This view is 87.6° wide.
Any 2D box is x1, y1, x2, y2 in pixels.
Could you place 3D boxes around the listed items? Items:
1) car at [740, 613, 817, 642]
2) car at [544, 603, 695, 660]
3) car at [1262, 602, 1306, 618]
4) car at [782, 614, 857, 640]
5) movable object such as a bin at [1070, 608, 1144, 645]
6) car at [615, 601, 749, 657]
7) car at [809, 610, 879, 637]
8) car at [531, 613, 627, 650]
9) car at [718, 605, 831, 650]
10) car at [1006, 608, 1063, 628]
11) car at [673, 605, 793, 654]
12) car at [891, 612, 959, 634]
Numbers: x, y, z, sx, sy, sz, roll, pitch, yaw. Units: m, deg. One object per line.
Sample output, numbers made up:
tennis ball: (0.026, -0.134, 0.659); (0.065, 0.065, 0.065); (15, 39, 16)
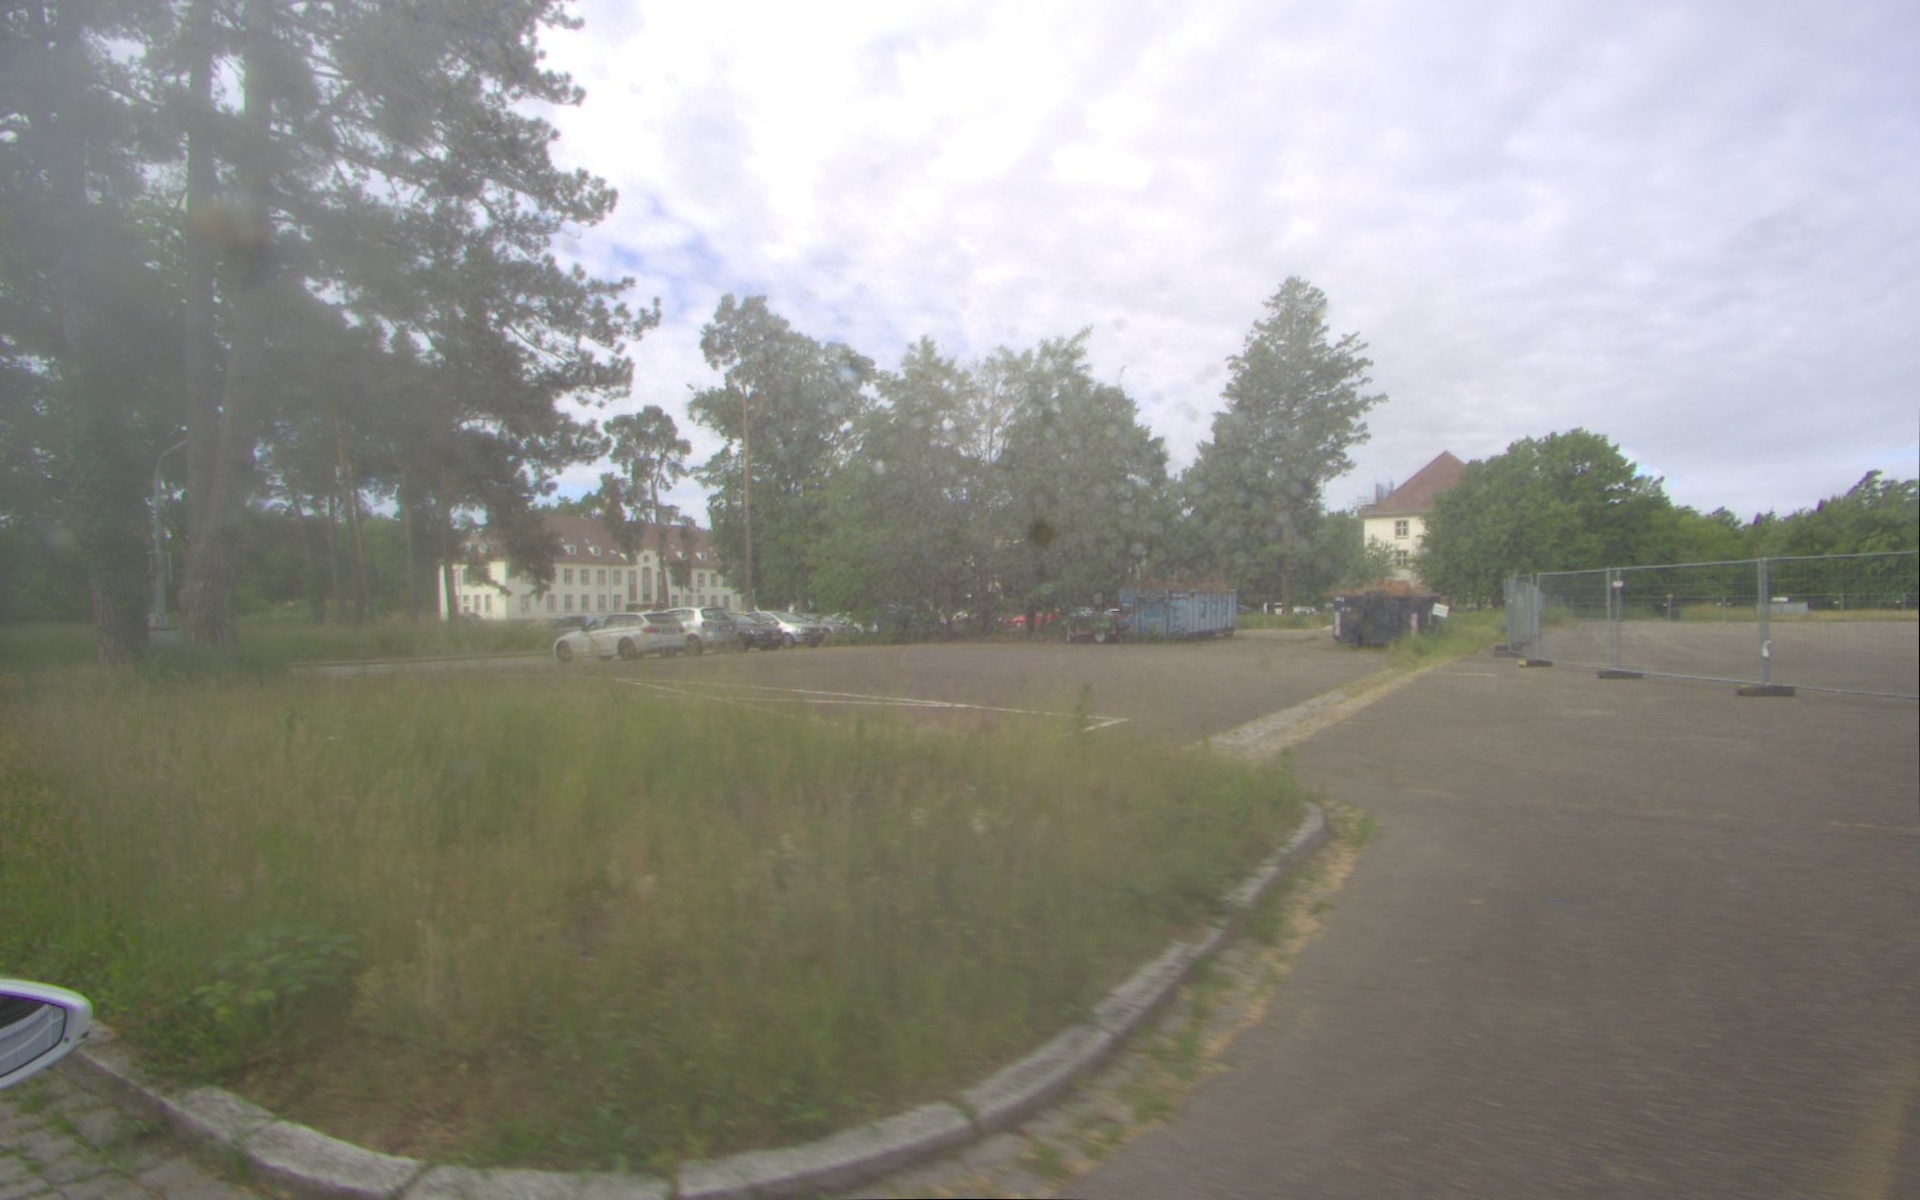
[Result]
car: (-9.769, 1.434, 53.767); (4.190, 1.492, 1.727); (-1, 0, 38)
car: (-10.496, 1.001, 30.801); (4.542, 1.505, 1.847); (-4, -3, 29)
car: (42.509, 1.295, 131.326); (5.223, 1.980, 2.080); (-1, -2, 33)
car: (-7.860, 1.483, 55.867); (4.190, 1.408, 1.727); (-1, 0, 38)
movable object such as a bin: (4.697, 0.844, 32.081); (2.176, 1.149, 0.960); (-1, -2, 23)
car: (-9.216, 0.953, 33.115); (4.181, 1.626, 1.780); (-4, -1, 29)
car: (-6.805, 1.377, 58.603); (4.190, 1.521, 1.610); (-1, 0, 38)
car: (-16.340, 1.312, 42.895); (4.184, 1.529, 1.730); (-1, 0, 33)
car: (-7.075, 1.050, 38.108); (4.186, 1.504, 1.697); (-4, -2, 33)
car: (5.904, 1.446, 79.283); (4.183, 1.541, 1.730); (-1, 0, 33)
car: (-8.096, 1.048, 35.515); (4.186, 1.504, 1.697); (-4, -2, 33)
car: (-2.297, 1.469, 65.097); (4.185, 1.408, 1.730); (-1, 0, 34)
